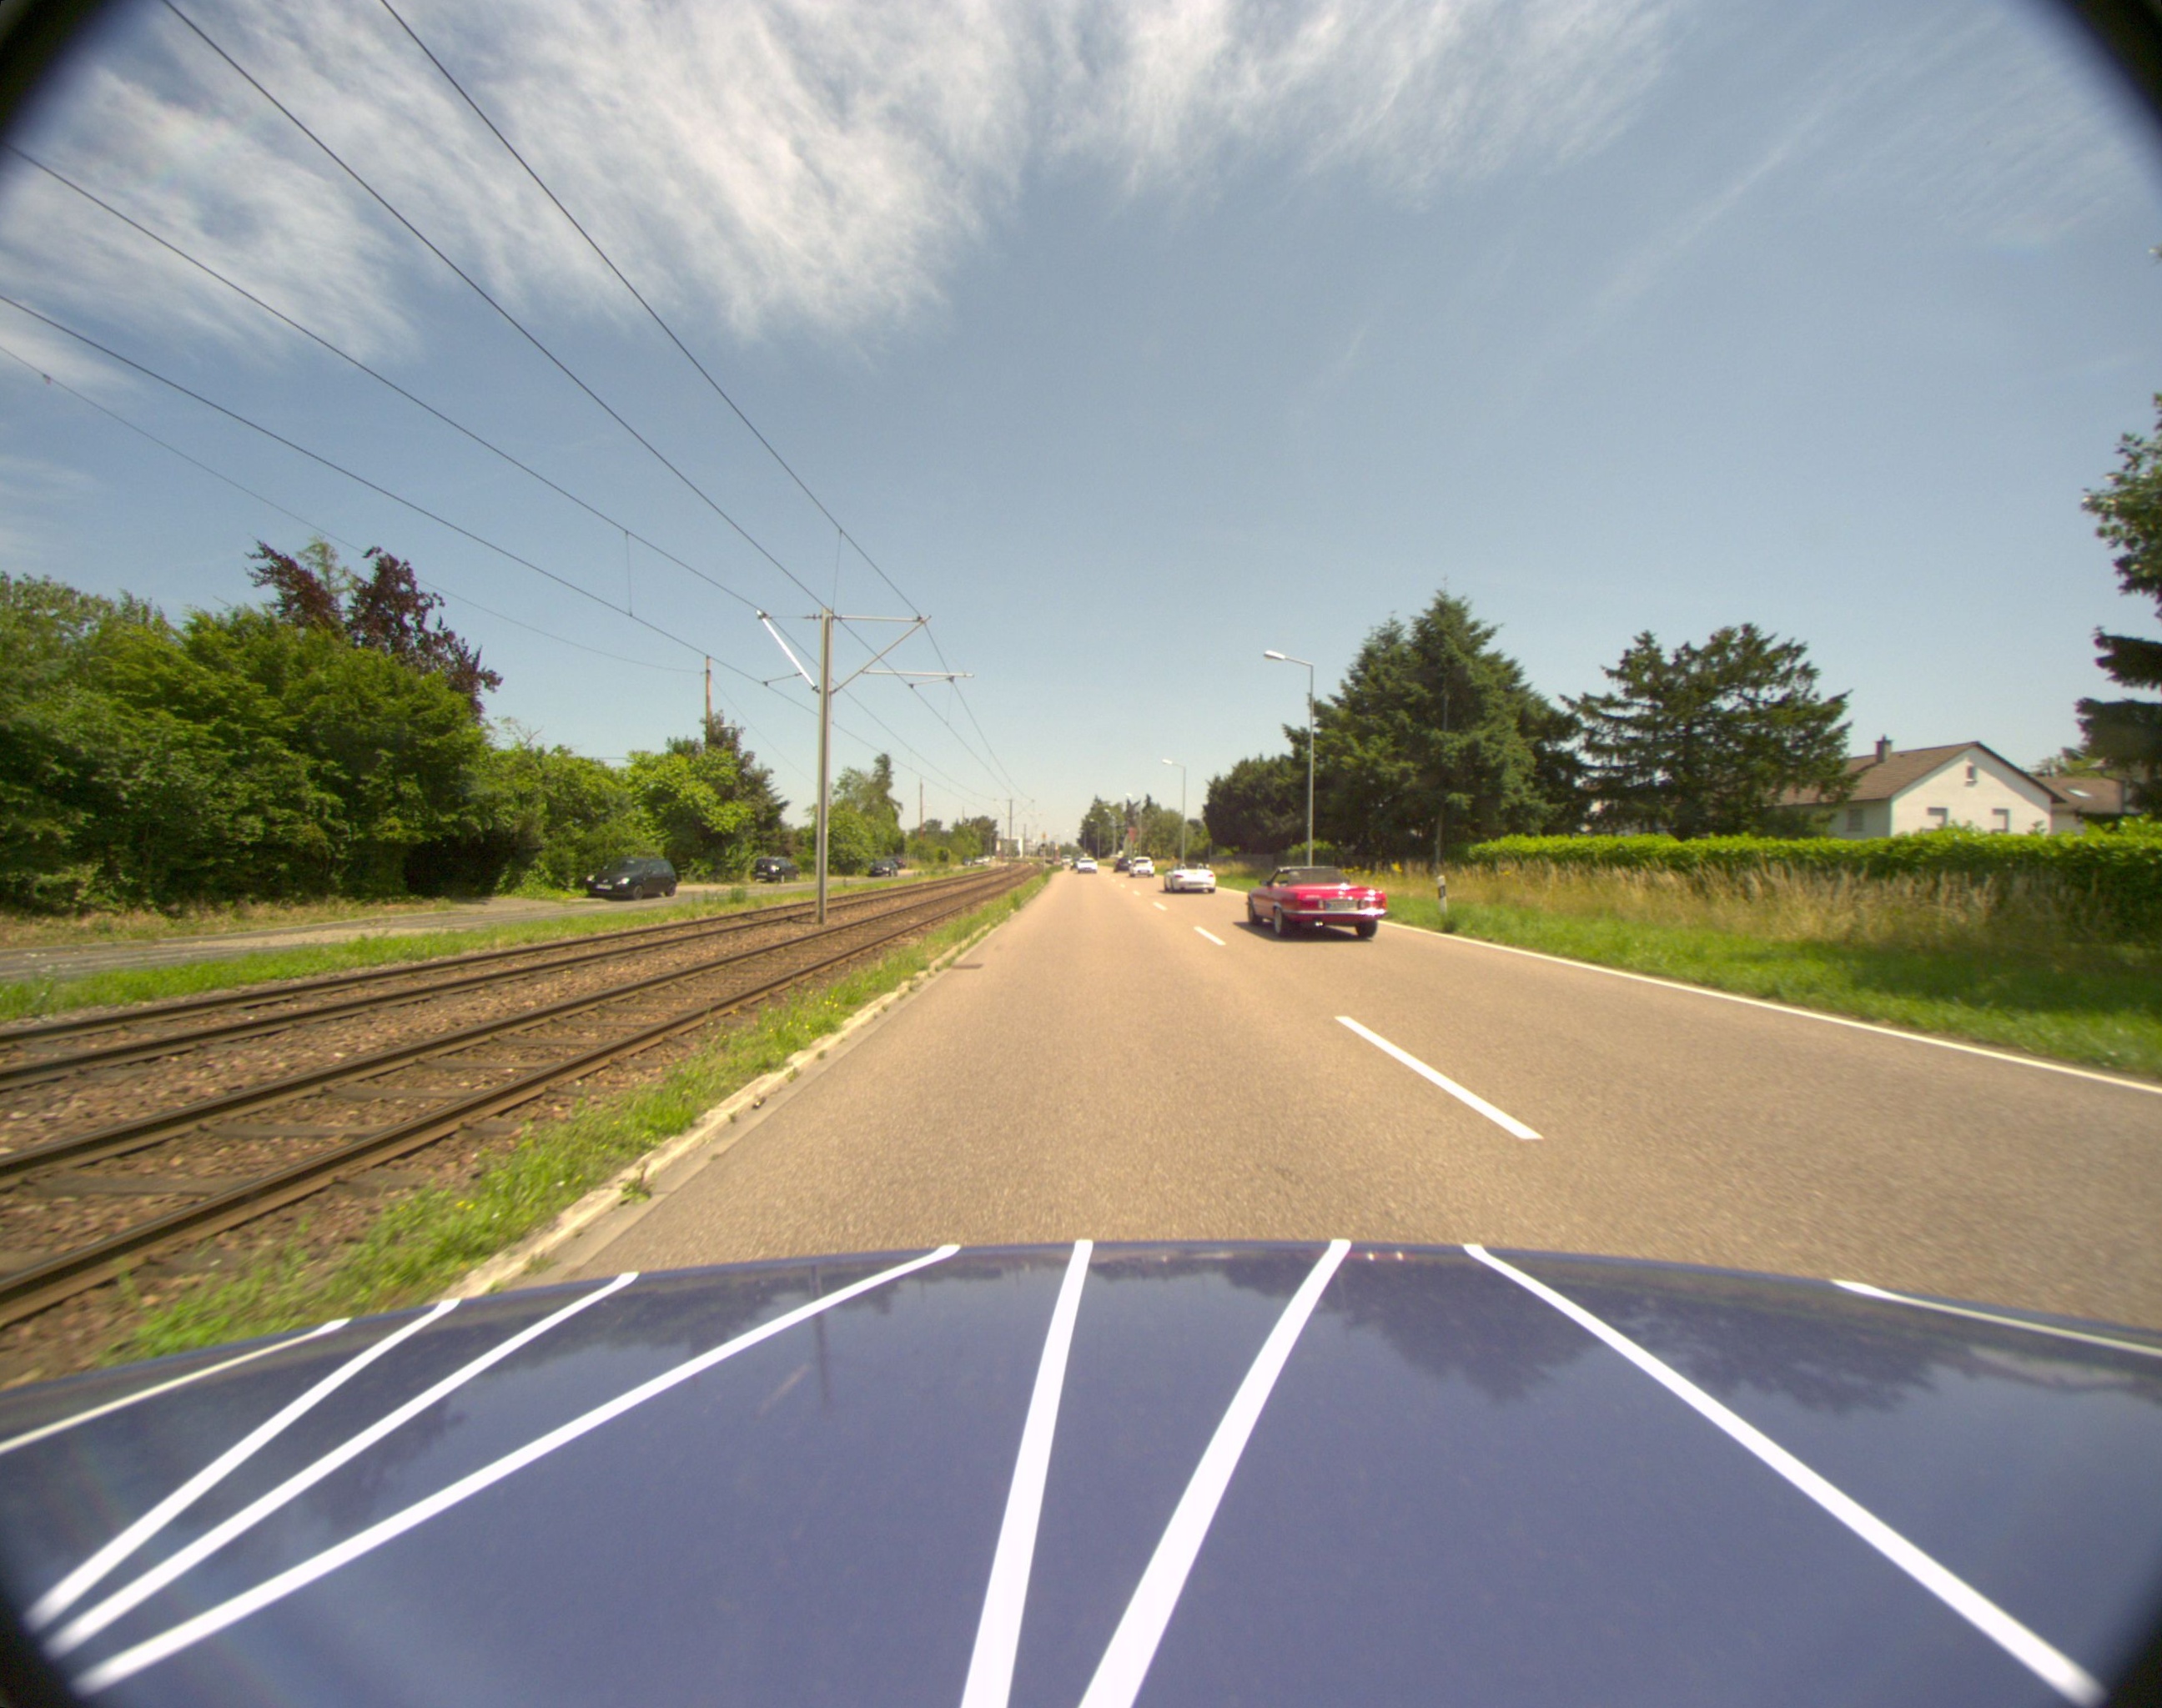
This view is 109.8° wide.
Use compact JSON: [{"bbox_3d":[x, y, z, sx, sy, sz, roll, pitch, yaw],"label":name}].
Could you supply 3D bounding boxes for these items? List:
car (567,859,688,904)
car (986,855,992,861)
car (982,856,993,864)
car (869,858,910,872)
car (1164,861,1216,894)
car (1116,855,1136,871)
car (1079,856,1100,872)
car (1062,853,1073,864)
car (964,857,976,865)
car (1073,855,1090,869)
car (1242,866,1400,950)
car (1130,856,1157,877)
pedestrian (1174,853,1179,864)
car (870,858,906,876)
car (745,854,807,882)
[{"bbox_3d":[-16.038,0.917,27.159,1.919,1.462,4.000,0,0,0],"label":"car"},{"bbox_3d":[-24.703,1.112,204.121,1.718,1.480,3.999,0,0,-5],"label":"car"},{"bbox_3d":[-18.200,1.140,148.579,1.945,1.414,3.998,0,0,-4],"label":"car"},{"bbox_3d":[-21.218,1.178,84.221,3.995,1.509,1.899,0,0,4],"label":"car"},{"bbox_3d":[4.556,0.971,32.344,1.686,1.242,3.909,0,0,0],"label":"car"},{"bbox_3d":[4.406,0.856,74.688,1.705,1.483,4.440,0,0,0],"label":"car"},{"bbox_3d":[0.744,0.913,72.529,1.857,1.447,3.705,0,0,-2],"label":"car"},{"bbox_3d":[-2.526,0.764,139.307,1.938,2.002,3.998,0,0,-3],"label":"car"},{"bbox_3d":[-18.979,1.164,129.830,1.624,1.414,4.871,0,0,-3],"label":"car"},{"bbox_3d":[0.036,0.900,89.409,1.999,1.576,3.999,0,0,-2],"label":"car"},{"bbox_3d":[4.416,0.925,14.698,1.753,1.293,4.253,0,0,1],"label":"car"},{"bbox_3d":[4.692,0.900,57.215,1.751,1.494,3.707,0,0,0],"label":"car"},{"bbox_3d":[13.326,0.606,106.200,0.610,1.469,0.633,0,1,-2],"label":"pedestrian"},{"bbox_3d":[-15.027,0.975,59.460,1.866,1.322,4.513,0,0,-2],"label":"car"},{"bbox_3d":[-17.687,0.776,44.290,1.940,1.552,4.555,0,0,-2],"label":"car"}]
